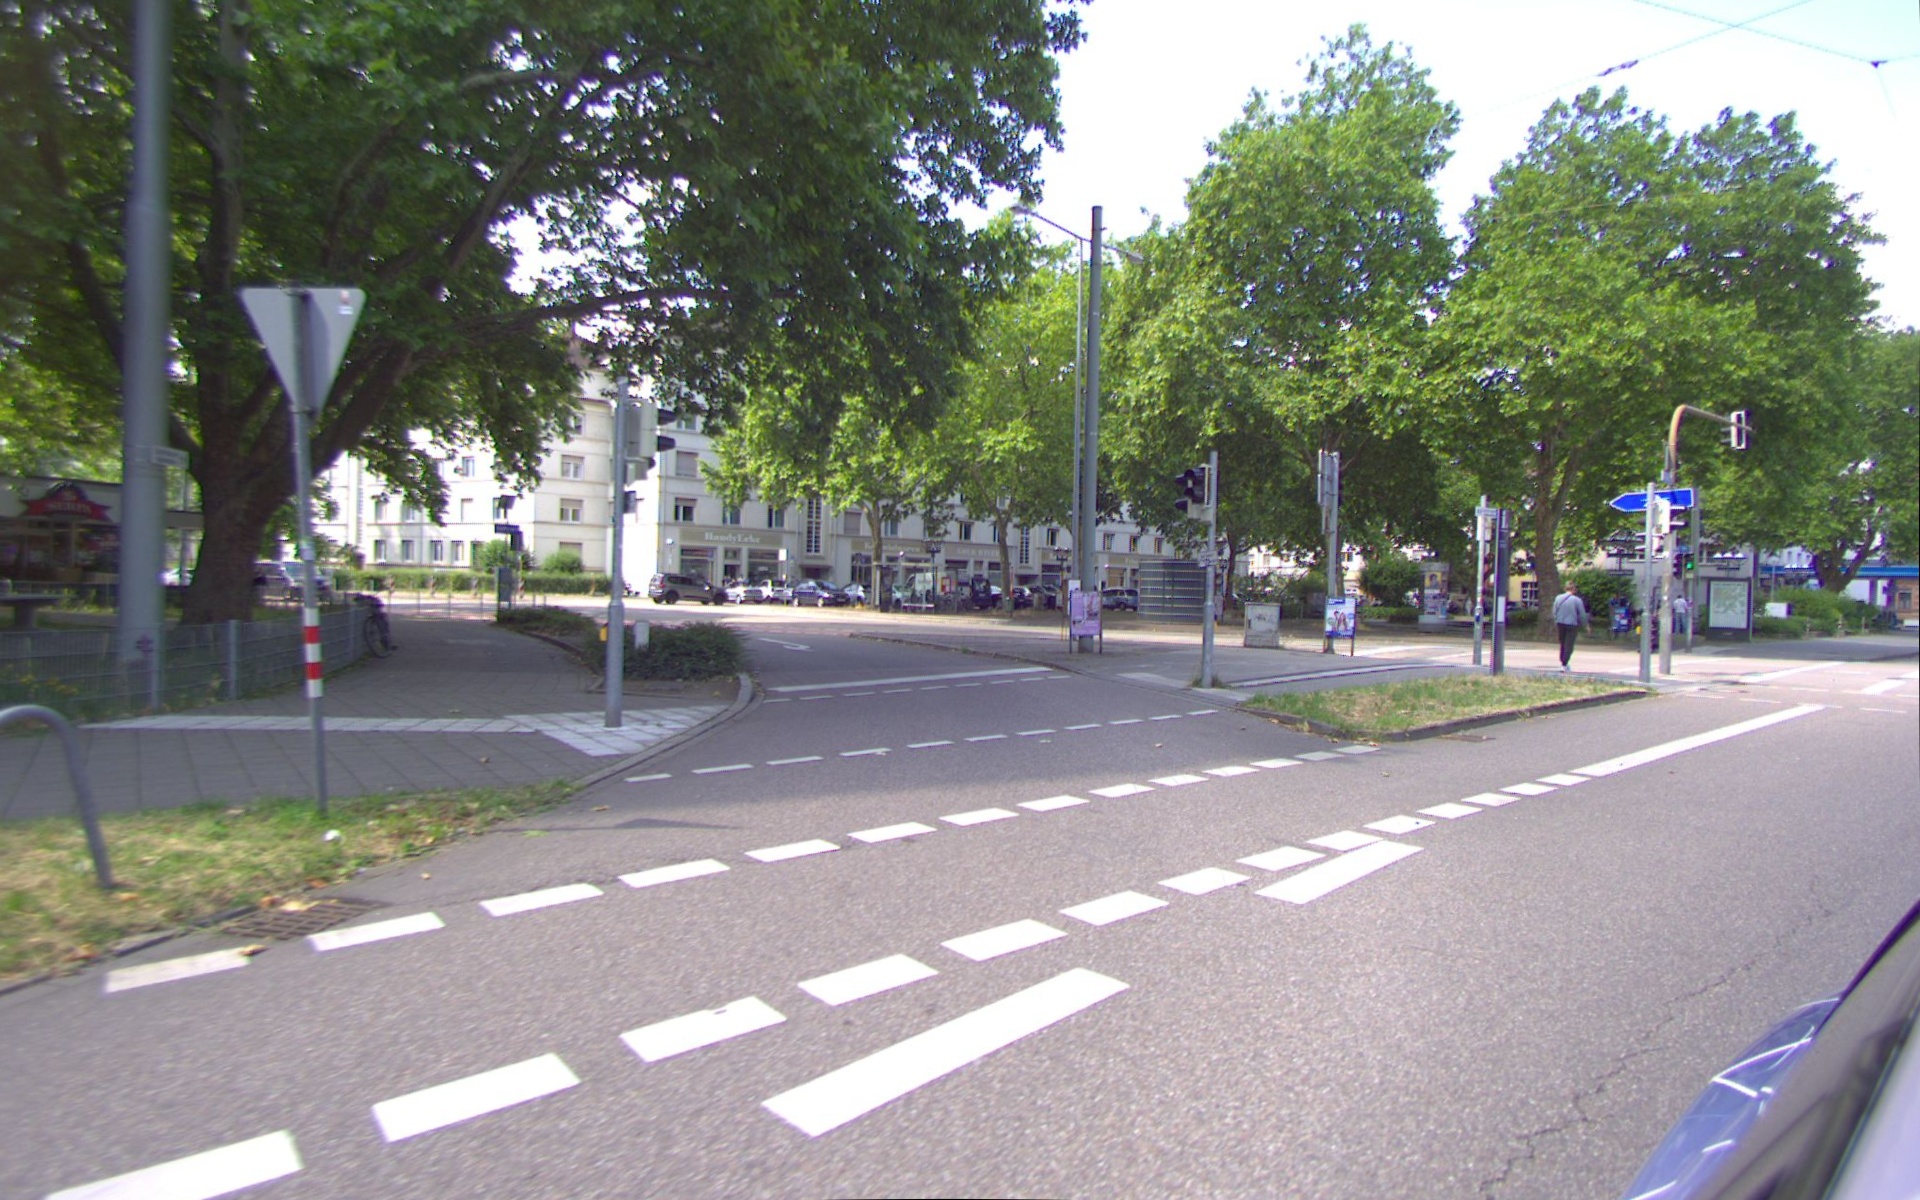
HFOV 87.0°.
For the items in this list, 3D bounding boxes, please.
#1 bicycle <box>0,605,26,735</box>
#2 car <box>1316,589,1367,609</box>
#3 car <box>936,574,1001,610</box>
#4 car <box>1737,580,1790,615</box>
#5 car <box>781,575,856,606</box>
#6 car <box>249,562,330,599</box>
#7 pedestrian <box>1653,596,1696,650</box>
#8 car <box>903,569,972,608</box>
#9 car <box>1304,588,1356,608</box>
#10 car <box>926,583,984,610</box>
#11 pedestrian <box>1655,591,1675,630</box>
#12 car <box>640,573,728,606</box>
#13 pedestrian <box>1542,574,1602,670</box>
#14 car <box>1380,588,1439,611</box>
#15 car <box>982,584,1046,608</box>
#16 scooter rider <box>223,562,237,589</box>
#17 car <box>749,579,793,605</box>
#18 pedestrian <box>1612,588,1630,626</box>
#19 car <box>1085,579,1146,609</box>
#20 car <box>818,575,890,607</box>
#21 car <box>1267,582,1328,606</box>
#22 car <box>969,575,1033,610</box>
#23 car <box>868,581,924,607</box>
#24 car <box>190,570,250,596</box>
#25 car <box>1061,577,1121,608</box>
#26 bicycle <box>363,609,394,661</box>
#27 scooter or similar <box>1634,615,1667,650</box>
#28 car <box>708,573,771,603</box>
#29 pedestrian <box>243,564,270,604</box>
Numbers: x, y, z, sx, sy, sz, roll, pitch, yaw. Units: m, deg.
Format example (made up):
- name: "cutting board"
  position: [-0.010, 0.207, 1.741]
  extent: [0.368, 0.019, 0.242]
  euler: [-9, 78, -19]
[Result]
- name: "bicycle"
  position: [-7.757, 0.572, 7.425]
  extent: [0.523, 1.022, 1.732]
  euler: [1, 1, -13]
- name: "car"
  position: [34.430, -0.127, 91.322]
  extent: [1.721, 1.682, 3.998]
  euler: [1, 1, -37]
- name: "car"
  position: [0.481, -0.506, 63.100]
  extent: [1.964, 2.102, 3.997]
  euler: [1, 1, -39]
- name: "car"
  position: [57.973, -0.195, 72.995]
  extent: [3.927, 2.450, 2.111]
  euler: [0, 1, -39]
- name: "car"
  position: [-7.882, -0.541, 56.025]
  extent: [1.999, 1.620, 4.532]
  euler: [0, 1, -41]
- name: "car"
  position: [-33.023, -0.956, 49.859]
  extent: [3.717, 1.682, 1.849]
  euler: [2, 1, 29]
- name: "pedestrian"
  position: [22.679, 0.720, 32.131]
  extent: [0.905, 1.666, 0.571]
  euler: [2, 1, -3]
- name: "car"
  position: [-1.386, -0.717, 60.885]
  extent: [1.964, 2.210, 4.254]
  euler: [1, 1, -39]
- name: "car"
  position: [32.708, -0.176, 89.478]
  extent: [1.820, 1.701, 3.998]
  euler: [1, 1, -37]
- name: "car"
  position: [-0.268, -0.204, 56.466]
  extent: [3.055, 1.406, 1.448]
  euler: [2, 1, 42]
- name: "pedestrian"
  position: [32.566, 0.479, 46.760]
  extent: [0.600, 1.772, 0.692]
  euler: [2, 1, 27]
- name: "car"
  position: [-15.006, -0.581, 55.164]
  extent: [4.241, 1.682, 1.790]
  euler: [1, 1, -42]
- name: "pedestrian"
  position: [11.953, 0.413, 19.762]
  extent: [0.870, 1.805, 0.694]
  euler: [1, 0, -38]
- name: "car"
  position: [36.530, -0.058, 82.248]
  extent: [1.835, 1.822, 3.998]
  euler: [1, 1, -37]
- name: "car"
  position: [3.436, -0.268, 65.490]
  extent: [1.964, 1.440, 3.997]
  euler: [1, 1, -39]
- name: "scooter rider"
  position: [-49.876, -1.683, 69.172]
  extent: [0.642, 1.834, 0.523]
  euler: [2, 1, 26]
- name: "car"
  position: [-12.488, -0.540, 66.759]
  extent: [1.445, 1.687, 3.060]
  euler: [1, 1, -43]
- name: "pedestrian"
  position: [31.455, 0.338, 48.182]
  extent: [0.600, 1.772, 0.692]
  euler: [2, 1, 27]
- name: "car"
  position: [11.187, -0.463, 72.886]
  extent: [1.965, 2.039, 3.994]
  euler: [1, 1, -41]
- name: "car"
  position: [-6.192, -0.526, 58.585]
  extent: [1.878, 1.711, 4.532]
  euler: [1, 1, -41]
- name: "car"
  position: [28.697, -0.488, 86.191]
  extent: [2.065, 1.929, 4.489]
  euler: [1, 1, -37]
- name: "car"
  position: [2.577, -0.486, 64.382]
  extent: [1.964, 2.102, 3.997]
  euler: [1, 1, -39]
- name: "car"
  position: [-3.751, -0.345, 58.934]
  extent: [3.226, 1.406, 1.447]
  euler: [2, 1, 44]
- name: "car"
  position: [-47.760, -1.103, 65.297]
  extent: [3.599, 1.574, 1.714]
  euler: [2, 1, 28]
- name: "car"
  position: [9.203, -0.543, 71.377]
  extent: [1.963, 2.039, 3.998]
  euler: [1, 1, -38]
- name: "bicycle"
  position: [-9.870, 0.582, 17.193]
  extent: [0.291, 0.806, 1.215]
  euler: [1, 1, -22]
- name: "scooter or similar"
  position: [21.873, 1.019, 32.065]
  extent: [0.694, 1.069, 0.491]
  euler: [2, 1, -3]
- name: "car"
  position: [-14.144, -0.762, 64.775]
  extent: [1.879, 1.818, 4.713]
  euler: [1, 1, -42]
- name: "pedestrian"
  position: [-26.604, -0.602, 38.263]
  extent: [0.572, 1.497, 0.663]
  euler: [1, 0, 35]
